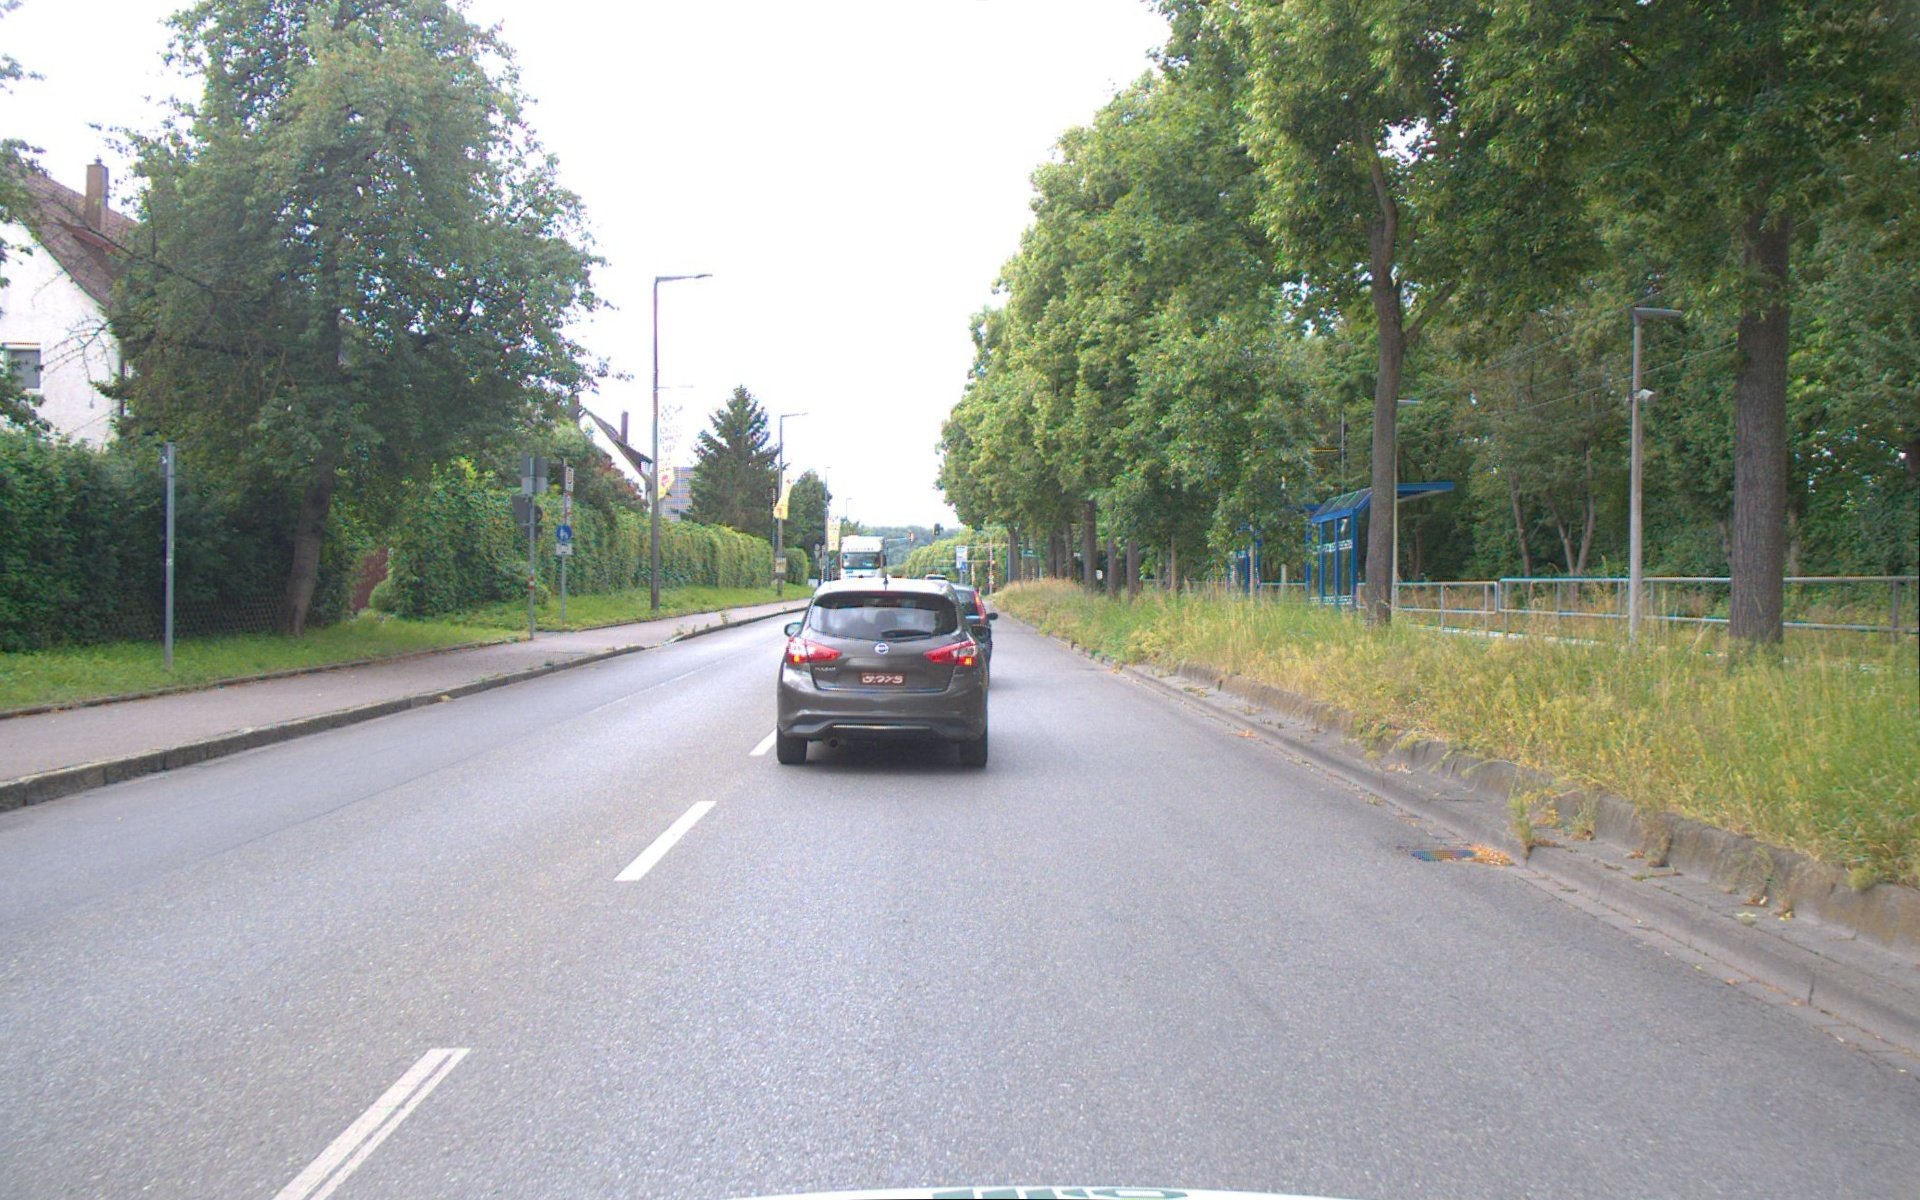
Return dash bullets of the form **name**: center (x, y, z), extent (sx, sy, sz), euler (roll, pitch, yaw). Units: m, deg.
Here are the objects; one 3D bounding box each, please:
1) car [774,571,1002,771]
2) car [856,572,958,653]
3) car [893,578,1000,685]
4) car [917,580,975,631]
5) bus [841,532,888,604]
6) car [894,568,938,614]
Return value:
- **car**: center (-0.585, 0.553, 14.714), extent (1.747, 1.533, 3.695), euler (1, 0, -1)
- **car**: center (-1.079, 0.266, 34.676), extent (1.953, 1.512, 3.999), euler (3, 0, -1)
- **car**: center (-0.229, 0.433, 24.977), extent (1.471, 1.466, 3.540), euler (1, 0, -1)
- **car**: center (-0.446, 0.141, 50.098), extent (1.657, 1.466, 3.540), euler (1, 0, -1)
- **bus**: center (-5.784, -1.918, 101.235), extent (2.437, 4.096, 10.215), euler (1, 1, -1)
- **car**: center (-2.085, -0.385, 78.948), extent (1.953, 2.049, 3.999), euler (3, -1, -1)
